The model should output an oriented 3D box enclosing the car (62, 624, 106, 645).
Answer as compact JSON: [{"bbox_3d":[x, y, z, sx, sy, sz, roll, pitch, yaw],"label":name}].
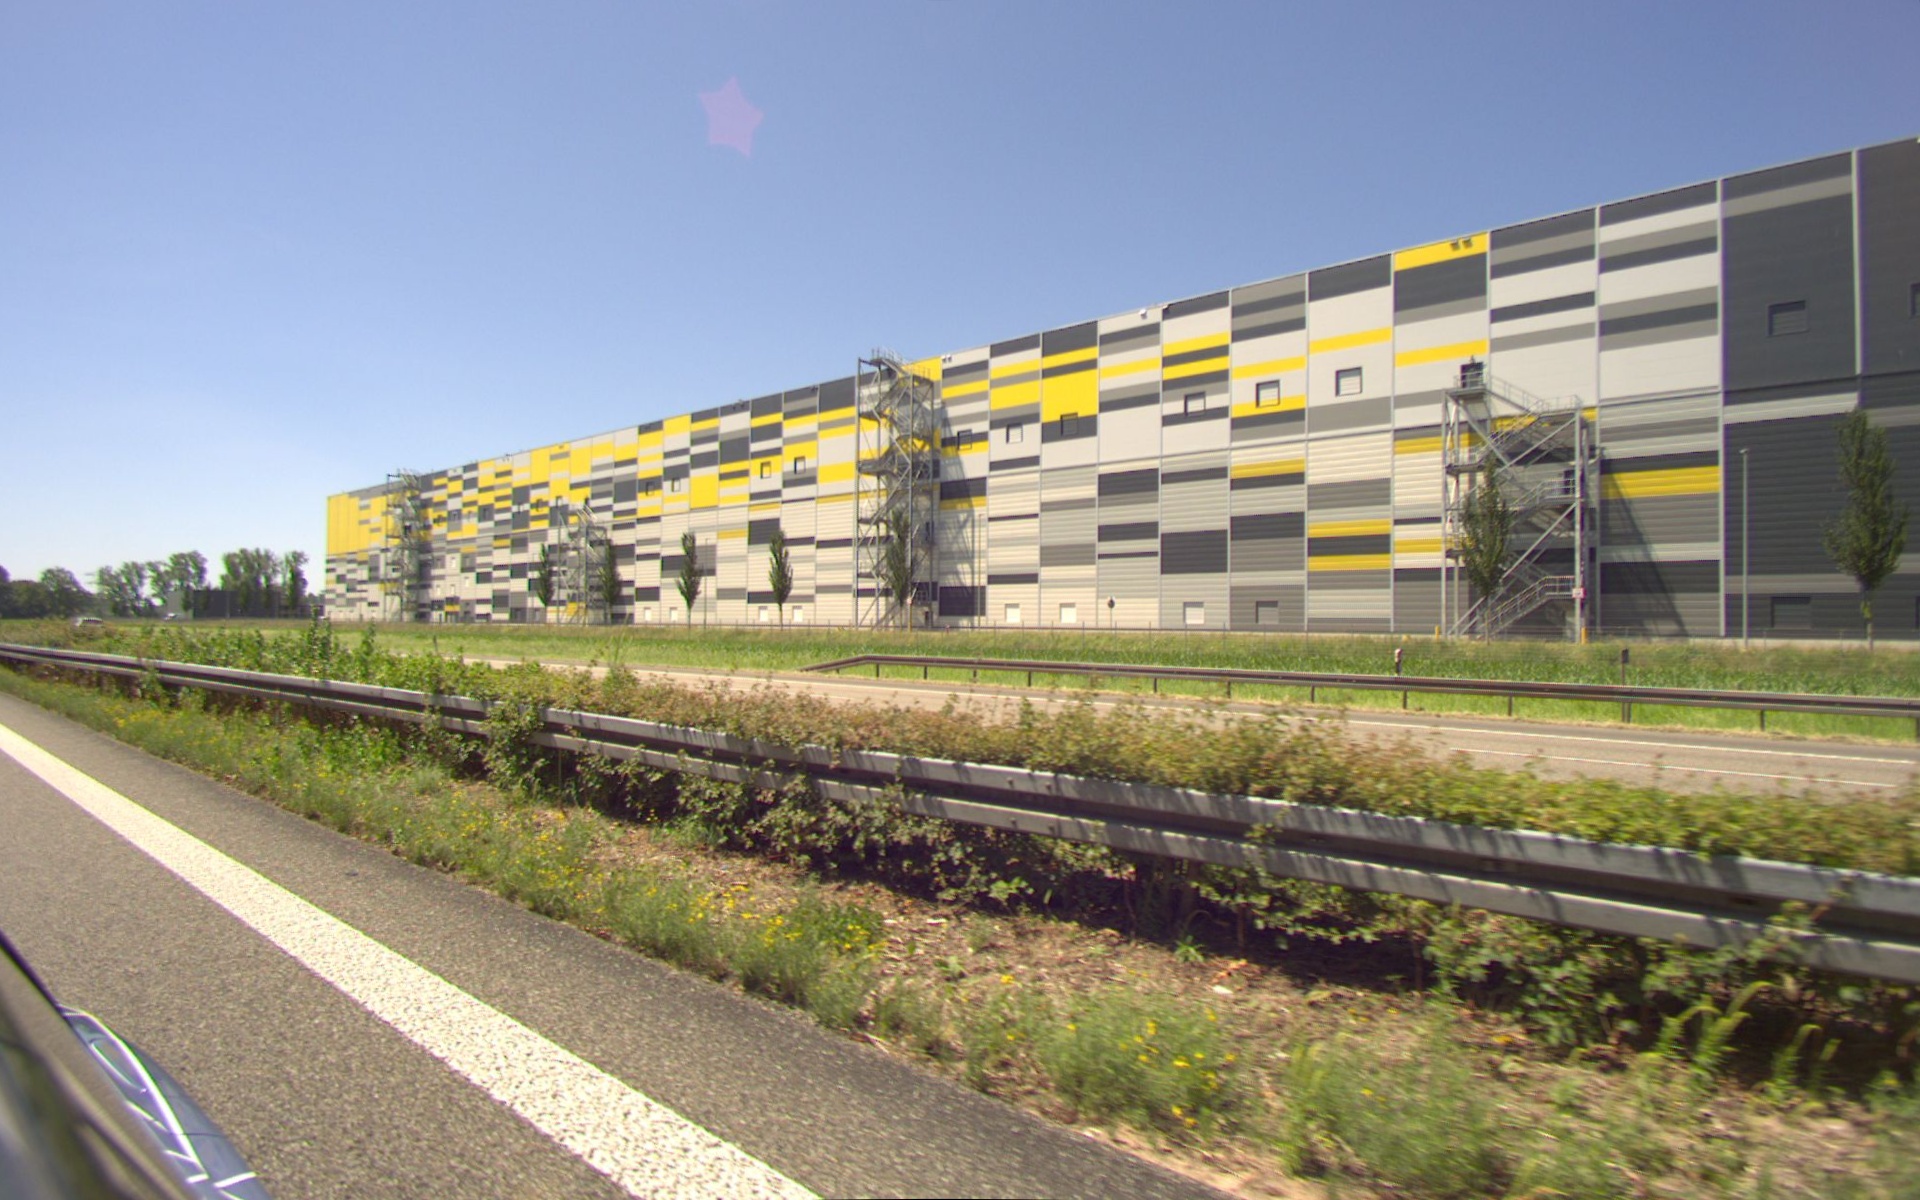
[{"bbox_3d":[-62.126,2.417,71.780,4.657,1.438,1.616,-1,-3,40],"label":"car"}]
